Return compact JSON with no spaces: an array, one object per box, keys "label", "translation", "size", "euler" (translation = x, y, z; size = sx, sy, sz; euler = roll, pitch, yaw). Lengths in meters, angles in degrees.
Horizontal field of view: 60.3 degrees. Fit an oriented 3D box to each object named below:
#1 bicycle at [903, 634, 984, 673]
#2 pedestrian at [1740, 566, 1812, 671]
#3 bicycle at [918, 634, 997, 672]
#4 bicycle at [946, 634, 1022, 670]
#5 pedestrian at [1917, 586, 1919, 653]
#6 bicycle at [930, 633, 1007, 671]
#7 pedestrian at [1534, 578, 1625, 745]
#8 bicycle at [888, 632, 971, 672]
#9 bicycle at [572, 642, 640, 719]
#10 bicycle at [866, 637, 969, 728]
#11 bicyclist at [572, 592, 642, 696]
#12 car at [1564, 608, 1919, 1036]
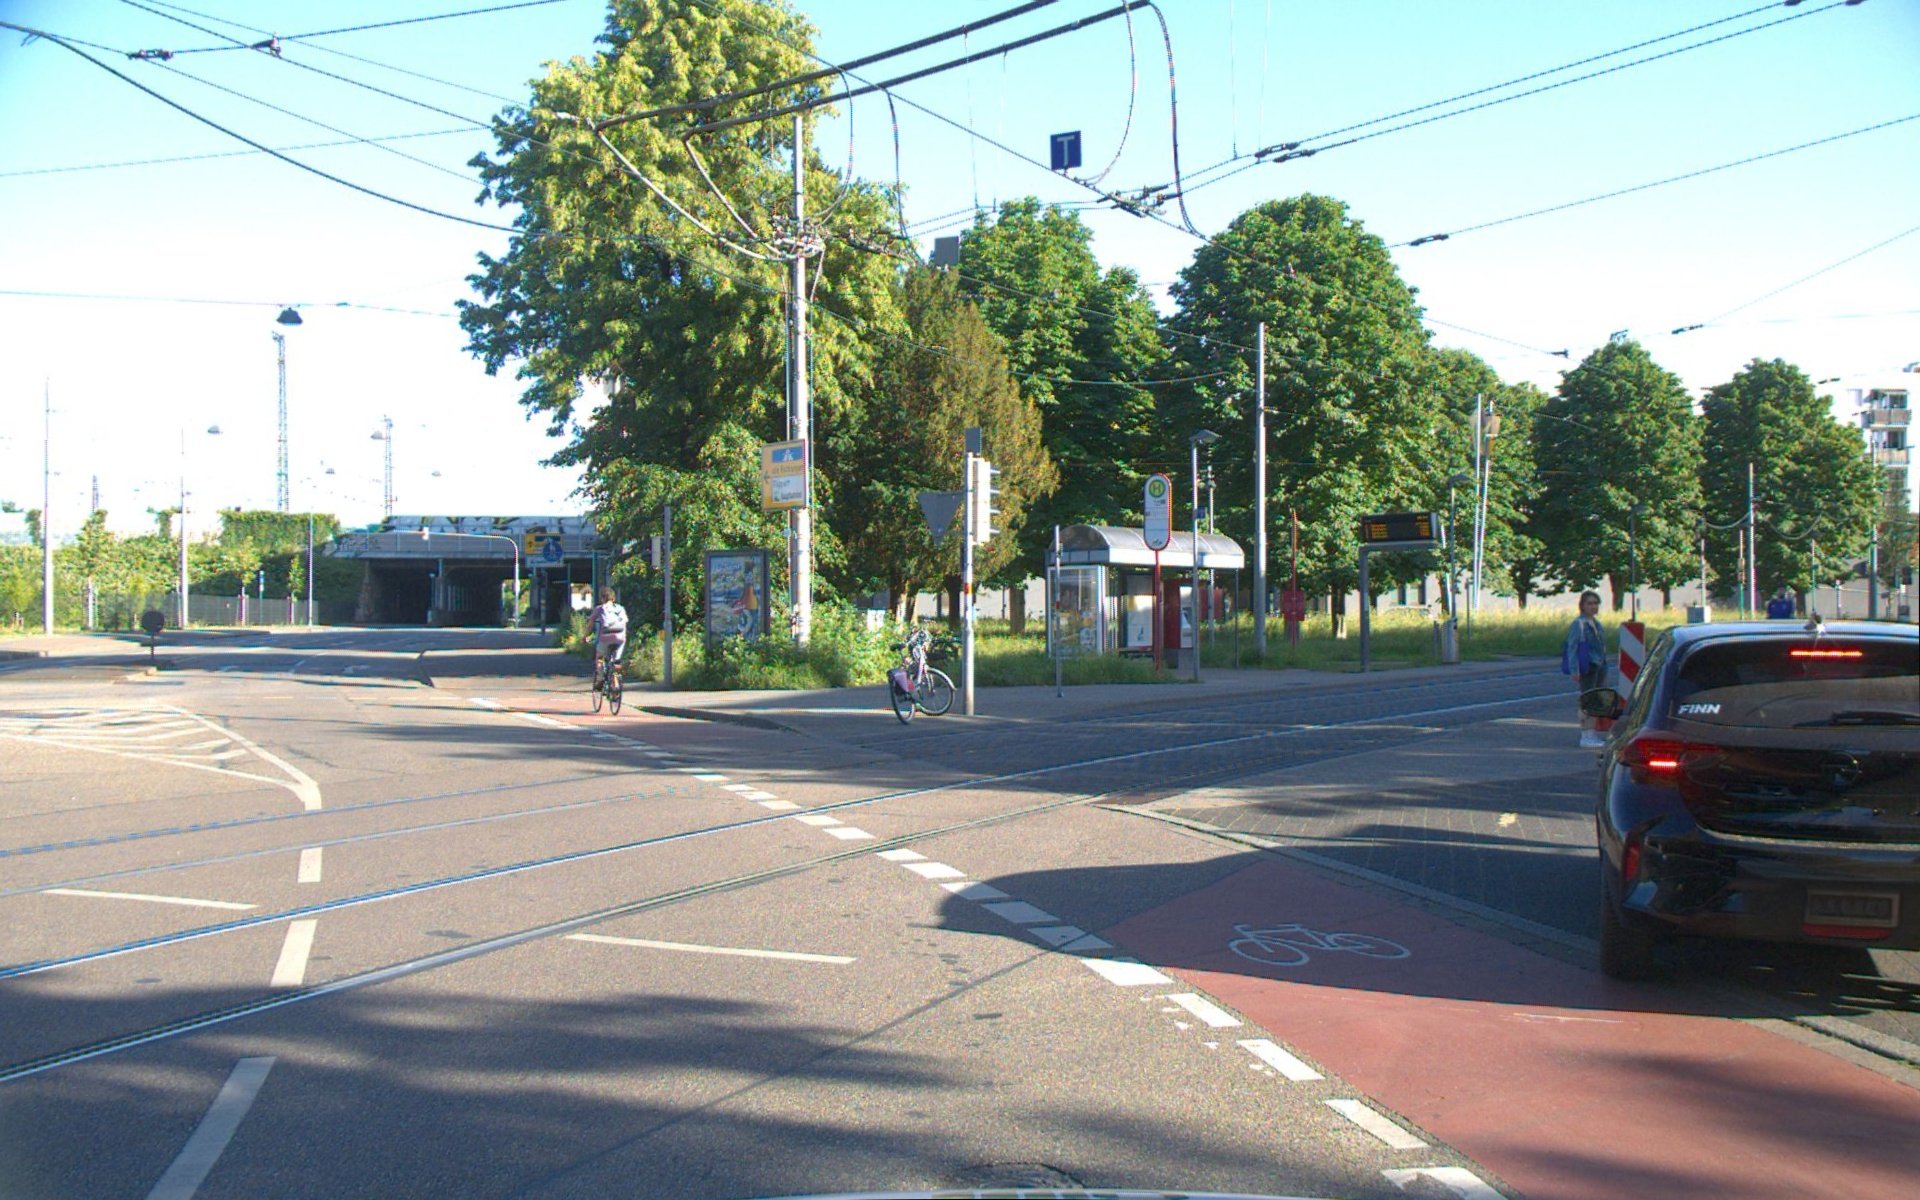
[{"label":"bicycle","translation":[-0.408,1.281,40.041],"size":[1.838,0.922,0.660],"euler":[-1,0,21]},{"label":"pedestrian","translation":[14.484,0.325,29.338],"size":[0.943,1.824,0.991],"euler":[-1,-1,39]},{"label":"bicycle","translation":[-0.071,1.297,40.856],"size":[1.838,0.922,0.660],"euler":[-1,0,21]},{"label":"bicycle","translation":[0.621,1.332,42.600],"size":[1.838,0.922,0.660],"euler":[-1,0,21]},{"label":"pedestrian","translation":[26.743,0.521,45.410],"size":[0.668,1.824,0.991],"euler":[-1,-1,39]},{"label":"bicycle","translation":[0.214,1.315,41.787],"size":[1.838,0.922,0.660],"euler":[-1,0,21]},{"label":"pedestrian","translation":[6.515,0.639,17.419],"size":[0.710,1.722,0.701],"euler":[-1,-1,4]},{"label":"bicycle","translation":[-0.721,1.218,39.102],"size":[1.838,0.922,0.660],"euler":[-1,0,21]},{"label":"bicycle","translation":[-5.444,1.205,25.380],"size":[0.658,1.078,2.067],"euler":[0,0,-22]},{"label":"bicycle","translation":[-0.521,1.033,21.338],"size":[0.807,1.078,1.884],"euler":[-1,0,16]},{"label":"bicyclist","translation":[-5.424,0.660,25.351],"size":[0.828,1.536,1.359],"euler":[0,0,-22]},{"label":"car","translation":[3.772,0.787,7.700],"size":[1.763,1.466,3.941],"euler":[-1,0,20]}]
